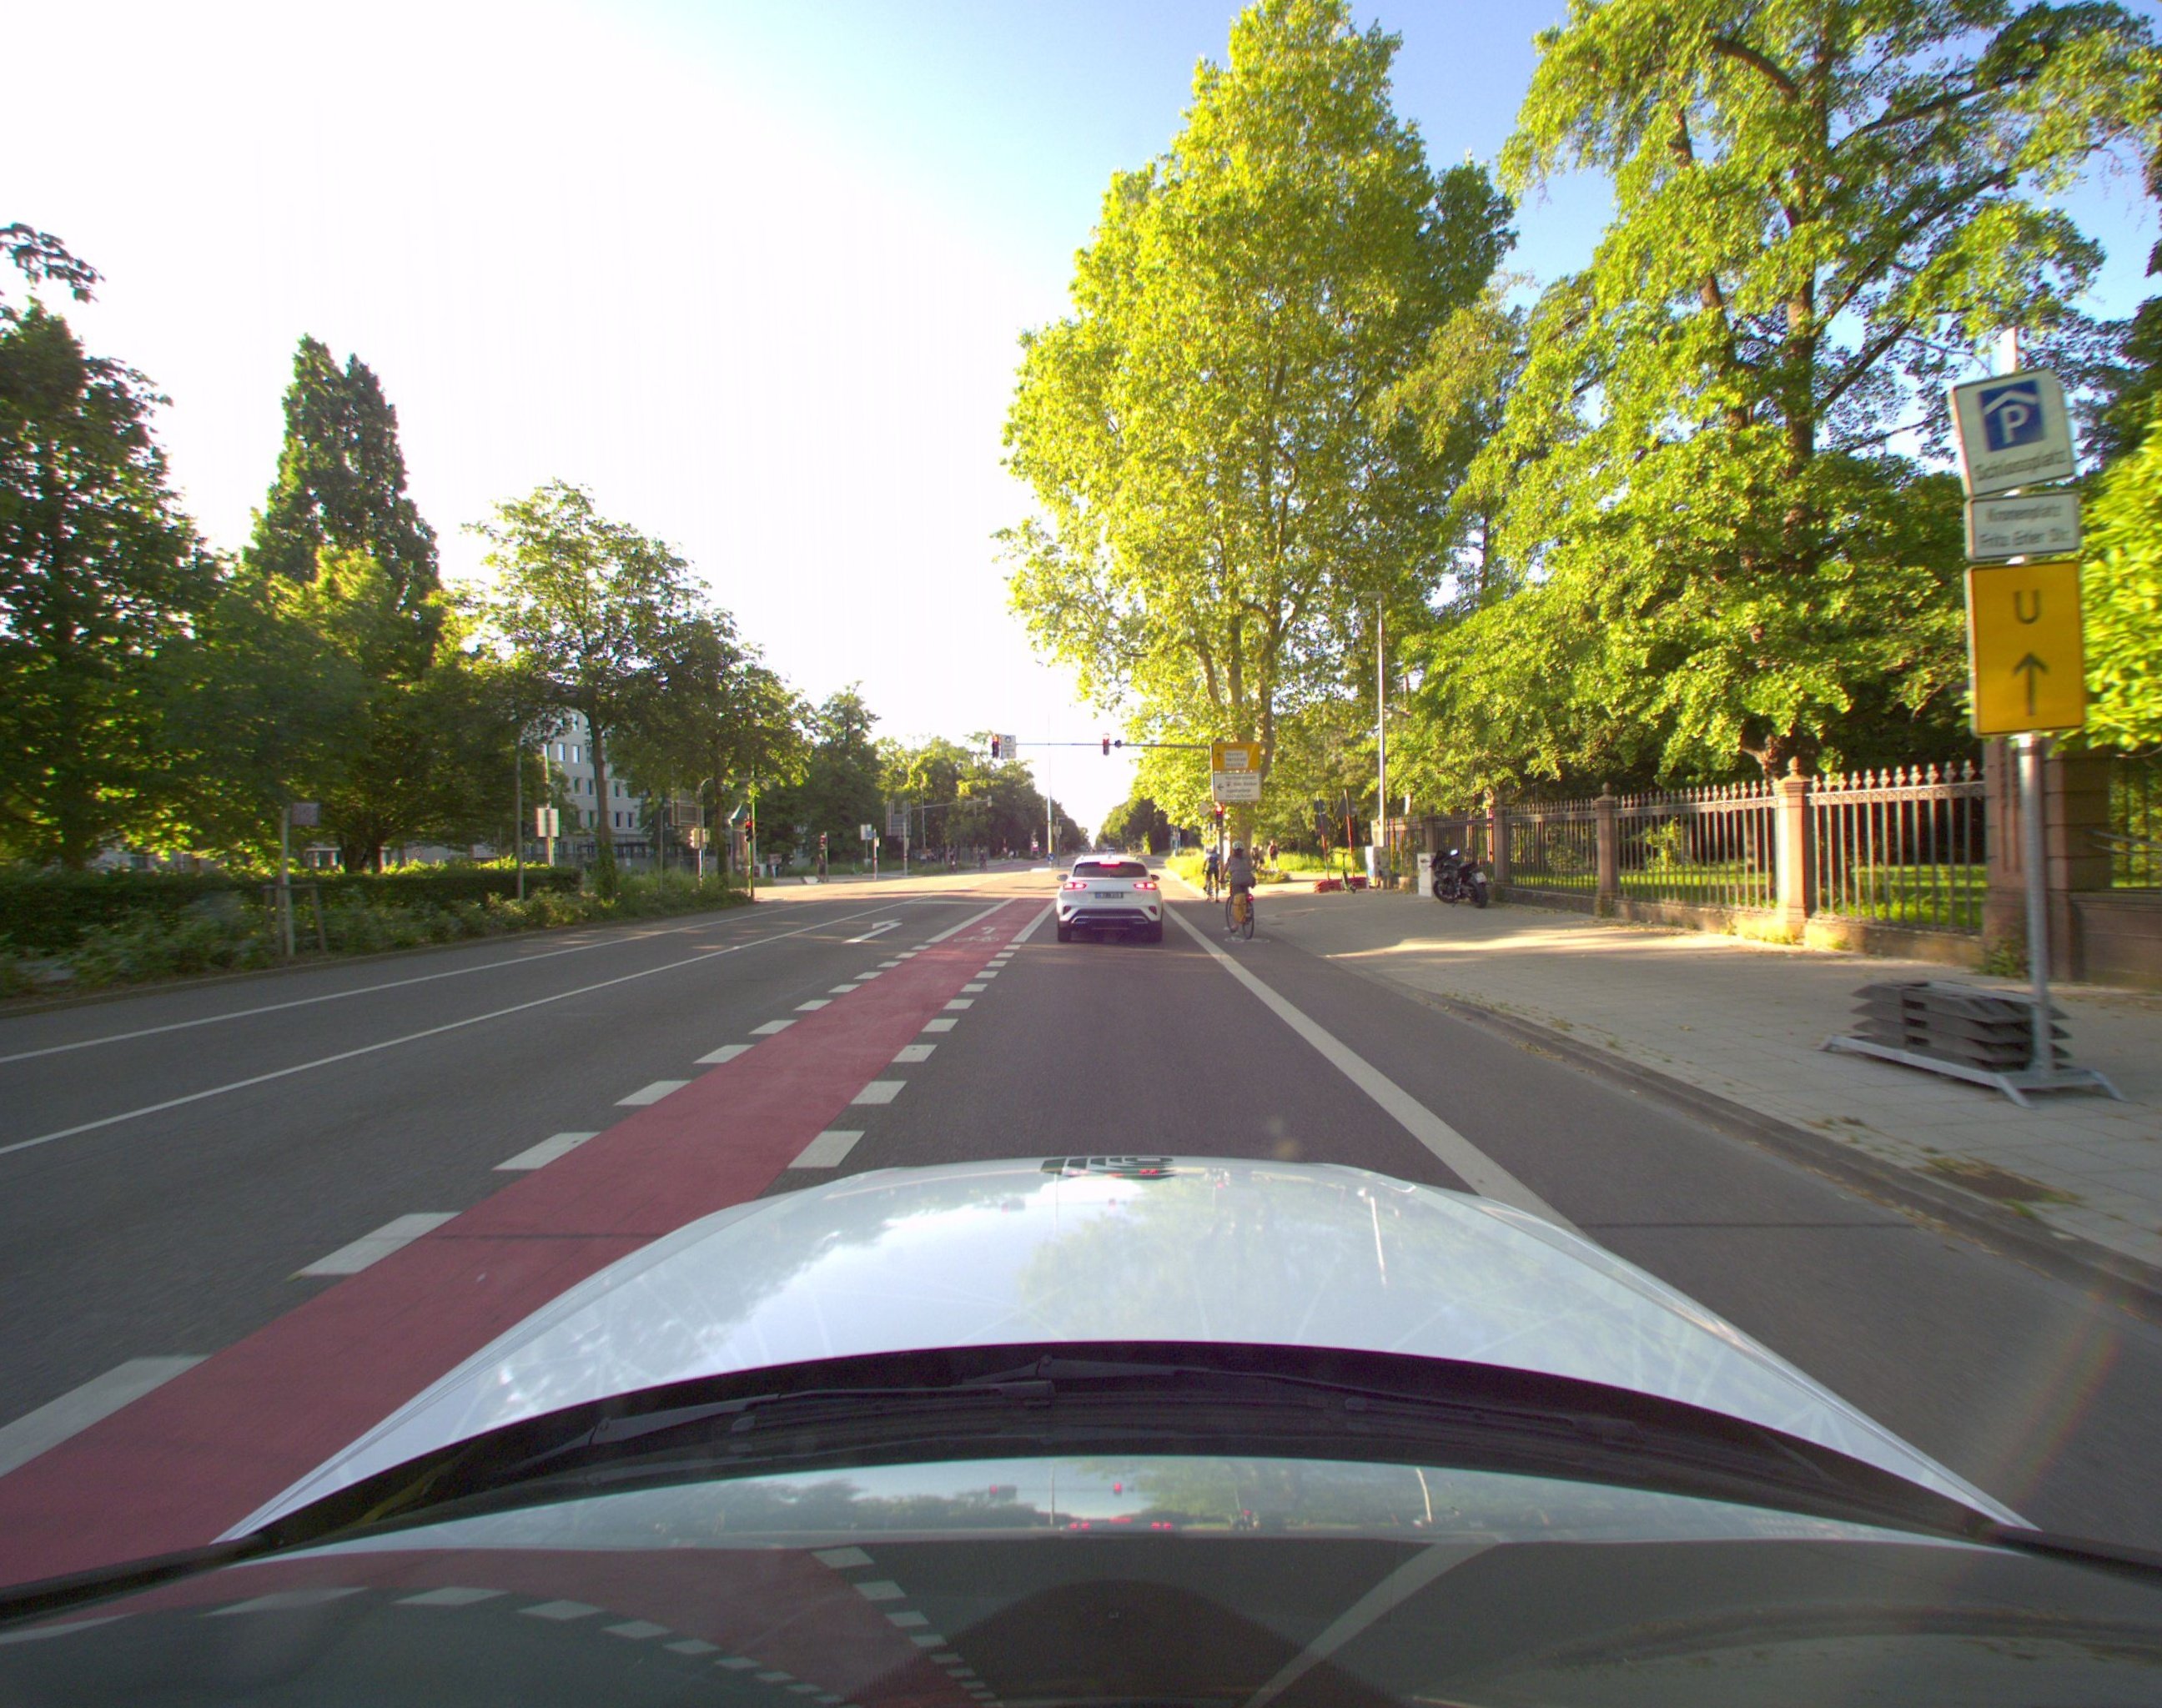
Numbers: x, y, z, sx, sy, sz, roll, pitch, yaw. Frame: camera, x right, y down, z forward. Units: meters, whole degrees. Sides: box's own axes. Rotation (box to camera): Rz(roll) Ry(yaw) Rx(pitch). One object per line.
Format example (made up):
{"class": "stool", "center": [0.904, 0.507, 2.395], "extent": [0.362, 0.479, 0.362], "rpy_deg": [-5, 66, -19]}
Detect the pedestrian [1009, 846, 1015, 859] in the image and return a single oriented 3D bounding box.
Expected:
{"class": "pedestrian", "center": [-9.686, -0.164, 114.347], "extent": [0.781, 1.785, 0.752], "rpy_deg": [0, 0, 3]}

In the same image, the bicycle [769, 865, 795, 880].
{"class": "bicycle", "center": [-23.084, 1.401, 62.866], "extent": [1.858, 1.148, 0.290], "rpy_deg": [0, 0, -5]}

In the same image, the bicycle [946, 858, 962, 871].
{"class": "bicycle", "center": [-10.592, 0.854, 67.979], "extent": [0.576, 0.989, 2.719], "rpy_deg": [-2, 0, 6]}

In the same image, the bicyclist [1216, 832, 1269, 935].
{"class": "bicyclist", "center": [2.915, 0.512, 14.791], "extent": [0.750, 1.795, 1.165], "rpy_deg": [0, 0, 1]}

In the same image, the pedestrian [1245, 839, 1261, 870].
{"class": "pedestrian", "center": [9.620, 0.038, 45.575], "extent": [0.688, 1.699, 0.643], "rpy_deg": [-2, 0, -4]}

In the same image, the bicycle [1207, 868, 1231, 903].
{"class": "bicycle", "center": [4.116, 0.932, 24.376], "extent": [0.400, 0.956, 1.551], "rpy_deg": [-4, 0, 1]}

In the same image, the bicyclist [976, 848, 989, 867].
{"class": "bicyclist", "center": [-8.368, 0.274, 69.132], "extent": [0.871, 1.608, 1.190], "rpy_deg": [-2, 0, 4]}

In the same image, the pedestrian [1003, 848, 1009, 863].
{"class": "pedestrian", "center": [-10.406, 0.190, 113.550], "extent": [0.637, 2.014, 0.756], "rpy_deg": [-1, 0, 13]}

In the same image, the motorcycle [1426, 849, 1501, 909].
{"class": "motorcycle", "center": [7.861, 0.485, 16.841], "extent": [0.504, 1.131, 2.171], "rpy_deg": [-3, 0, 1]}

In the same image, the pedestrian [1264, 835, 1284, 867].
{"class": "pedestrian", "center": [10.952, -0.153, 46.173], "extent": [0.816, 1.771, 0.831], "rpy_deg": [-2, 0, -5]}

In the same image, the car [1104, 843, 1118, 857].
{"class": "car", "center": [4.385, -0.592, 118.782], "extent": [1.986, 2.013, 4.003], "rpy_deg": [-2, 0, 2]}

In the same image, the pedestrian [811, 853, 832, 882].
{"class": "pedestrian", "center": [-17.803, 0.923, 55.875], "extent": [0.989, 2.014, 1.193], "rpy_deg": [-1, 0, 7]}

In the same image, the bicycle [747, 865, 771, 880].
{"class": "bicycle", "center": [-24.941, 1.438, 63.116], "extent": [1.848, 1.148, 0.444], "rpy_deg": [-1, 0, 14]}

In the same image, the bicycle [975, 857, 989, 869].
{"class": "bicycle", "center": [-8.357, 0.767, 69.056], "extent": [0.660, 0.989, 2.507], "rpy_deg": [-2, 0, 5]}

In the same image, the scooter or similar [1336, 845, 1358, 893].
{"class": "scooter or similar", "center": [7.692, 0.415, 23.572], "extent": [0.227, 1.327, 1.172], "rpy_deg": [-2, 0, 1]}

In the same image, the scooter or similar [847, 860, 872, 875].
{"class": "scooter or similar", "center": [-17.591, 1.087, 64.686], "extent": [0.703, 1.124, 1.933], "rpy_deg": [-1, 0, 35]}

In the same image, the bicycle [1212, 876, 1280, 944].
{"class": "bicycle", "center": [2.915, 0.954, 14.677], "extent": [0.755, 1.013, 2.570], "rpy_deg": [0, 0, 1]}

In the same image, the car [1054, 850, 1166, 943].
{"class": "car", "center": [0.512, 0.686, 15.281], "extent": [1.815, 1.480, 3.937], "rpy_deg": [-1, 0, 1]}

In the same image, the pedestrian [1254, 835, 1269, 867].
{"class": "pedestrian", "center": [10.148, -0.145, 45.814], "extent": [0.614, 1.771, 0.646], "rpy_deg": [-2, 0, -5]}

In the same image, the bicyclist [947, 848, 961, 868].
{"class": "bicyclist", "center": [-10.611, 0.352, 67.958], "extent": [0.871, 1.606, 0.979], "rpy_deg": [-2, 0, 5]}

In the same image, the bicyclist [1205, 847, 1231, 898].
{"class": "bicyclist", "center": [4.086, 0.542, 24.314], "extent": [0.552, 1.478, 0.717], "rpy_deg": [-4, 0, 1]}

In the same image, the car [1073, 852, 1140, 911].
{"class": "car", "center": [0.706, 0.726, 23.287], "extent": [1.722, 1.483, 3.517], "rpy_deg": [-2, 0, 1]}
